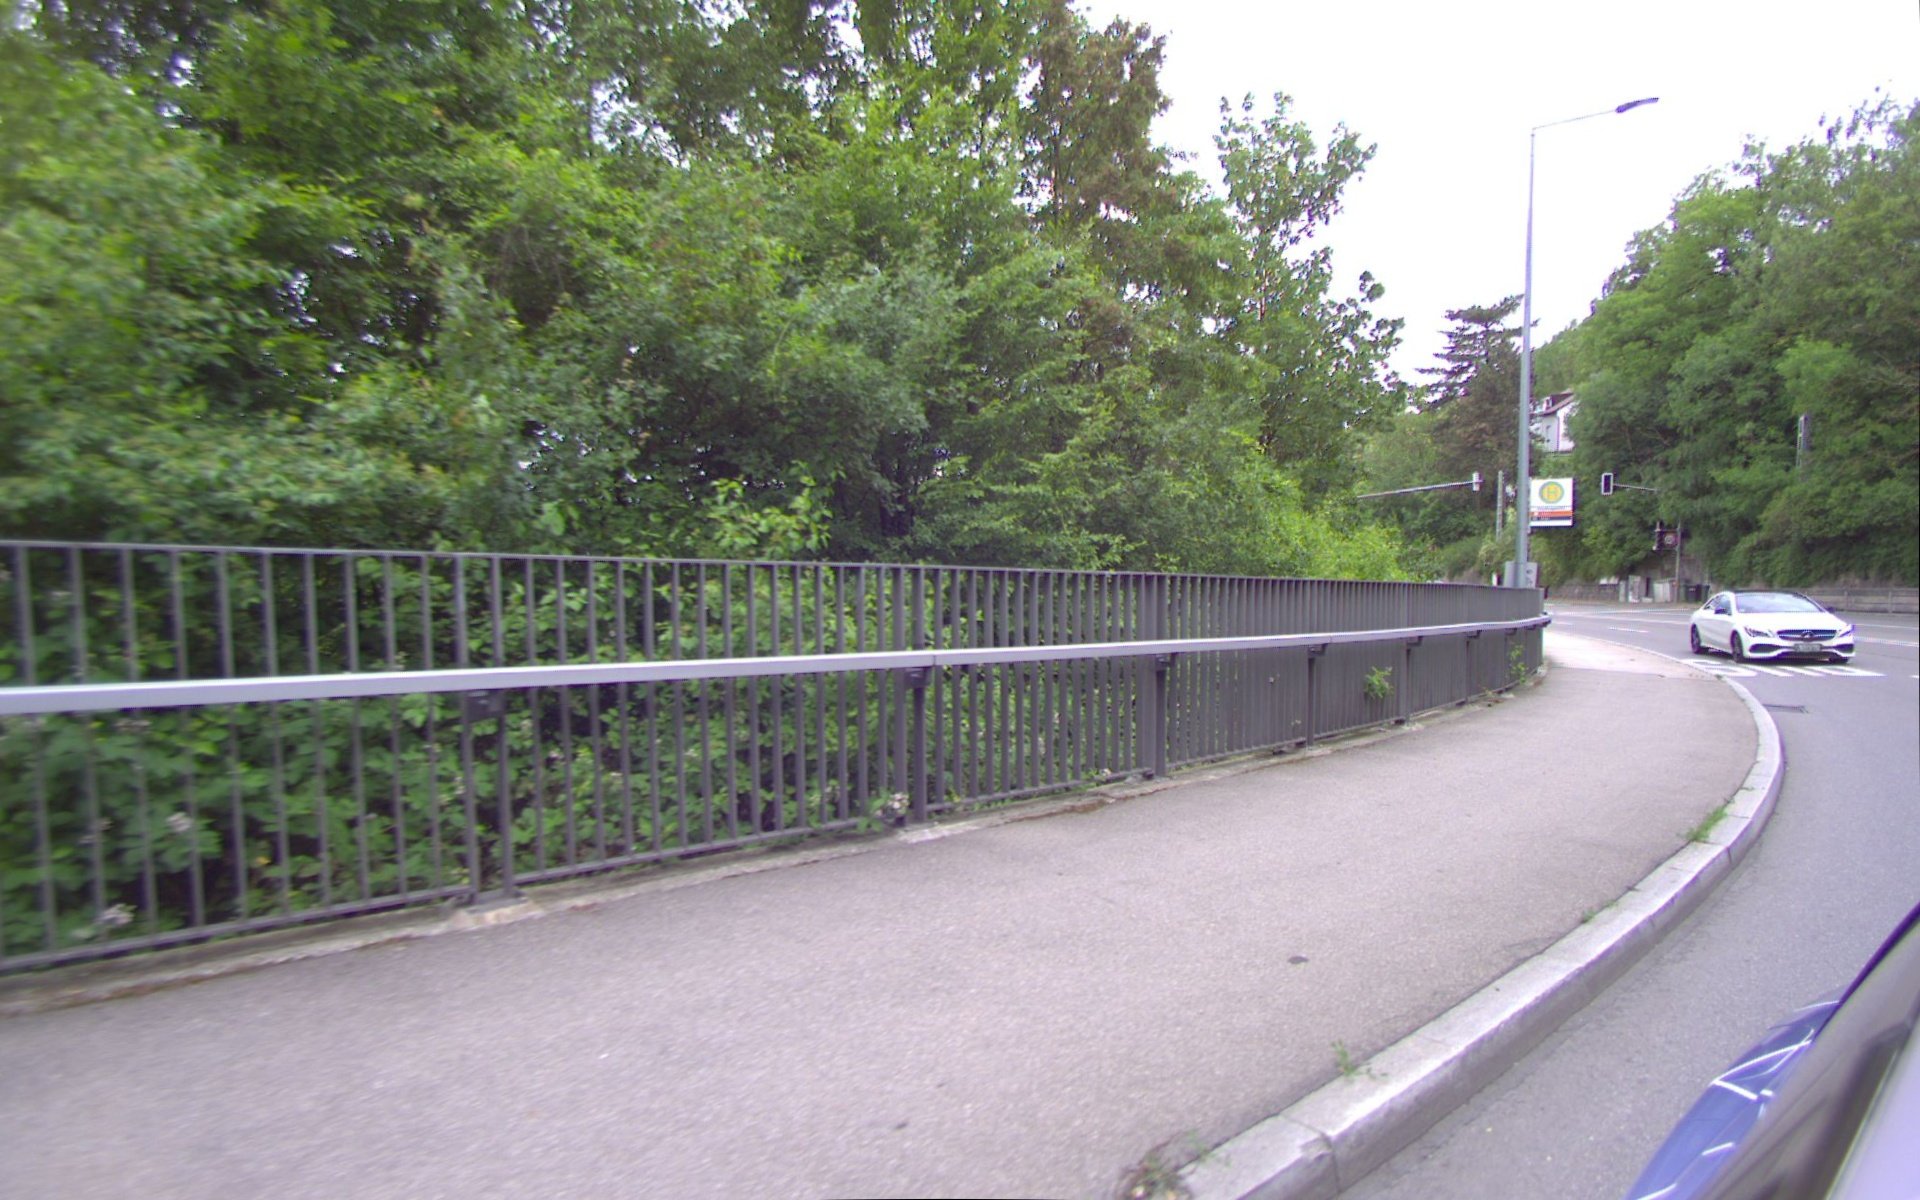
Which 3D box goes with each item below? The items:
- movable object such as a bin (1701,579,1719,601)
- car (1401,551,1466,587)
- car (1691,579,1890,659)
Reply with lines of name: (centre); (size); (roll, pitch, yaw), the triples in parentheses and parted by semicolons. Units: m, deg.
movable object such as a bin: (34.110, -0.461, 46.025); (0.421, 0.962, 0.478); (-3, 0, 9)
car: (23.921, -1.570, 51.294); (1.968, 1.609, 3.989); (-3, 1, 11)
car: (16.810, 0.343, 20.774); (1.882, 1.445, 4.234); (-2, 0, 22)
